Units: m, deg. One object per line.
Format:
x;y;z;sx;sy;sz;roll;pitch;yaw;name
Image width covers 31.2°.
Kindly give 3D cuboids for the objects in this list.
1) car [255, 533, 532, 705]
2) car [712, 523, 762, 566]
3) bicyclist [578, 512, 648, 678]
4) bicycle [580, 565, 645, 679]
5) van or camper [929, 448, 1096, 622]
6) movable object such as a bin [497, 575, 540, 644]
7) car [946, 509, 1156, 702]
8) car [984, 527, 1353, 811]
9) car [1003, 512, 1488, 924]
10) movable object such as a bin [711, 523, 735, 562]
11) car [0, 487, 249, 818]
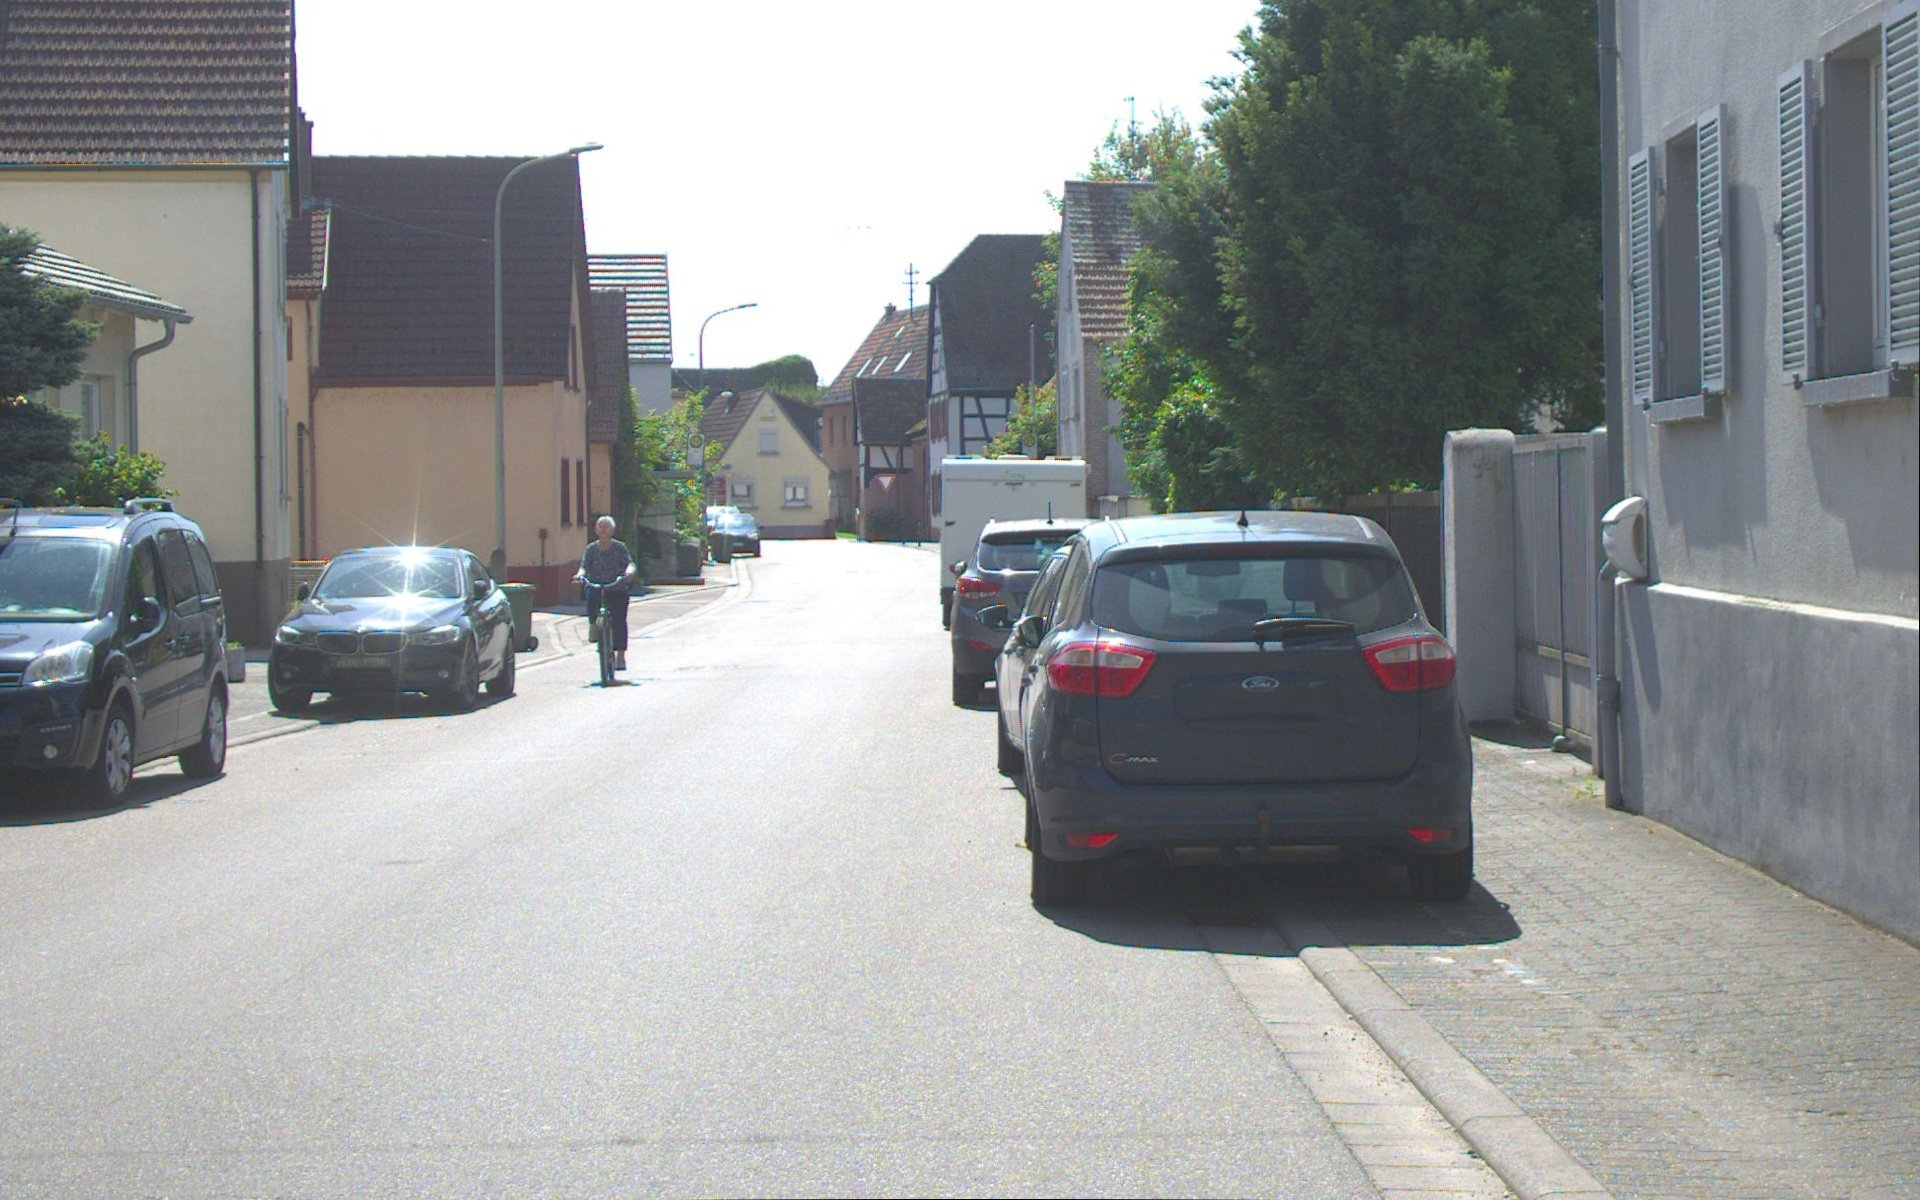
-5.368;0.121;33.160;1.844;1.521;4.765;0;1;0;car
-7.652;-1.919;118.181;1.511;1.431;3.511;-2;1;0;car
-3.736;-0.062;37.083;0.703;1.765;0.625;-1;1;-4;bicyclist
-3.720;0.222;36.852;0.589;1.144;1.949;-2;1;-4;bicycle
0.804;-1.061;55.896;2.521;2.687;4.556;-1;1;-1;van or camper
-6.187;0.134;48.167;0.539;0.946;0.553;0;1;-1;movable object such as a bin
0.901;-0.009;31.945;1.794;1.625;4.360;-1;2;3;car
1.140;0.322;20.802;1.819;1.503;4.582;-1;1;-2;car
1.124;0.402;15.474;1.797;1.555;4.631;-1;1;0;car
-7.354;-1.777;106.703;0.688;1.181;0.714;-2;1;0;movable object such as a bin
-5.800;0.258;21.276;1.834;1.831;4.354;-1;1;0;car
